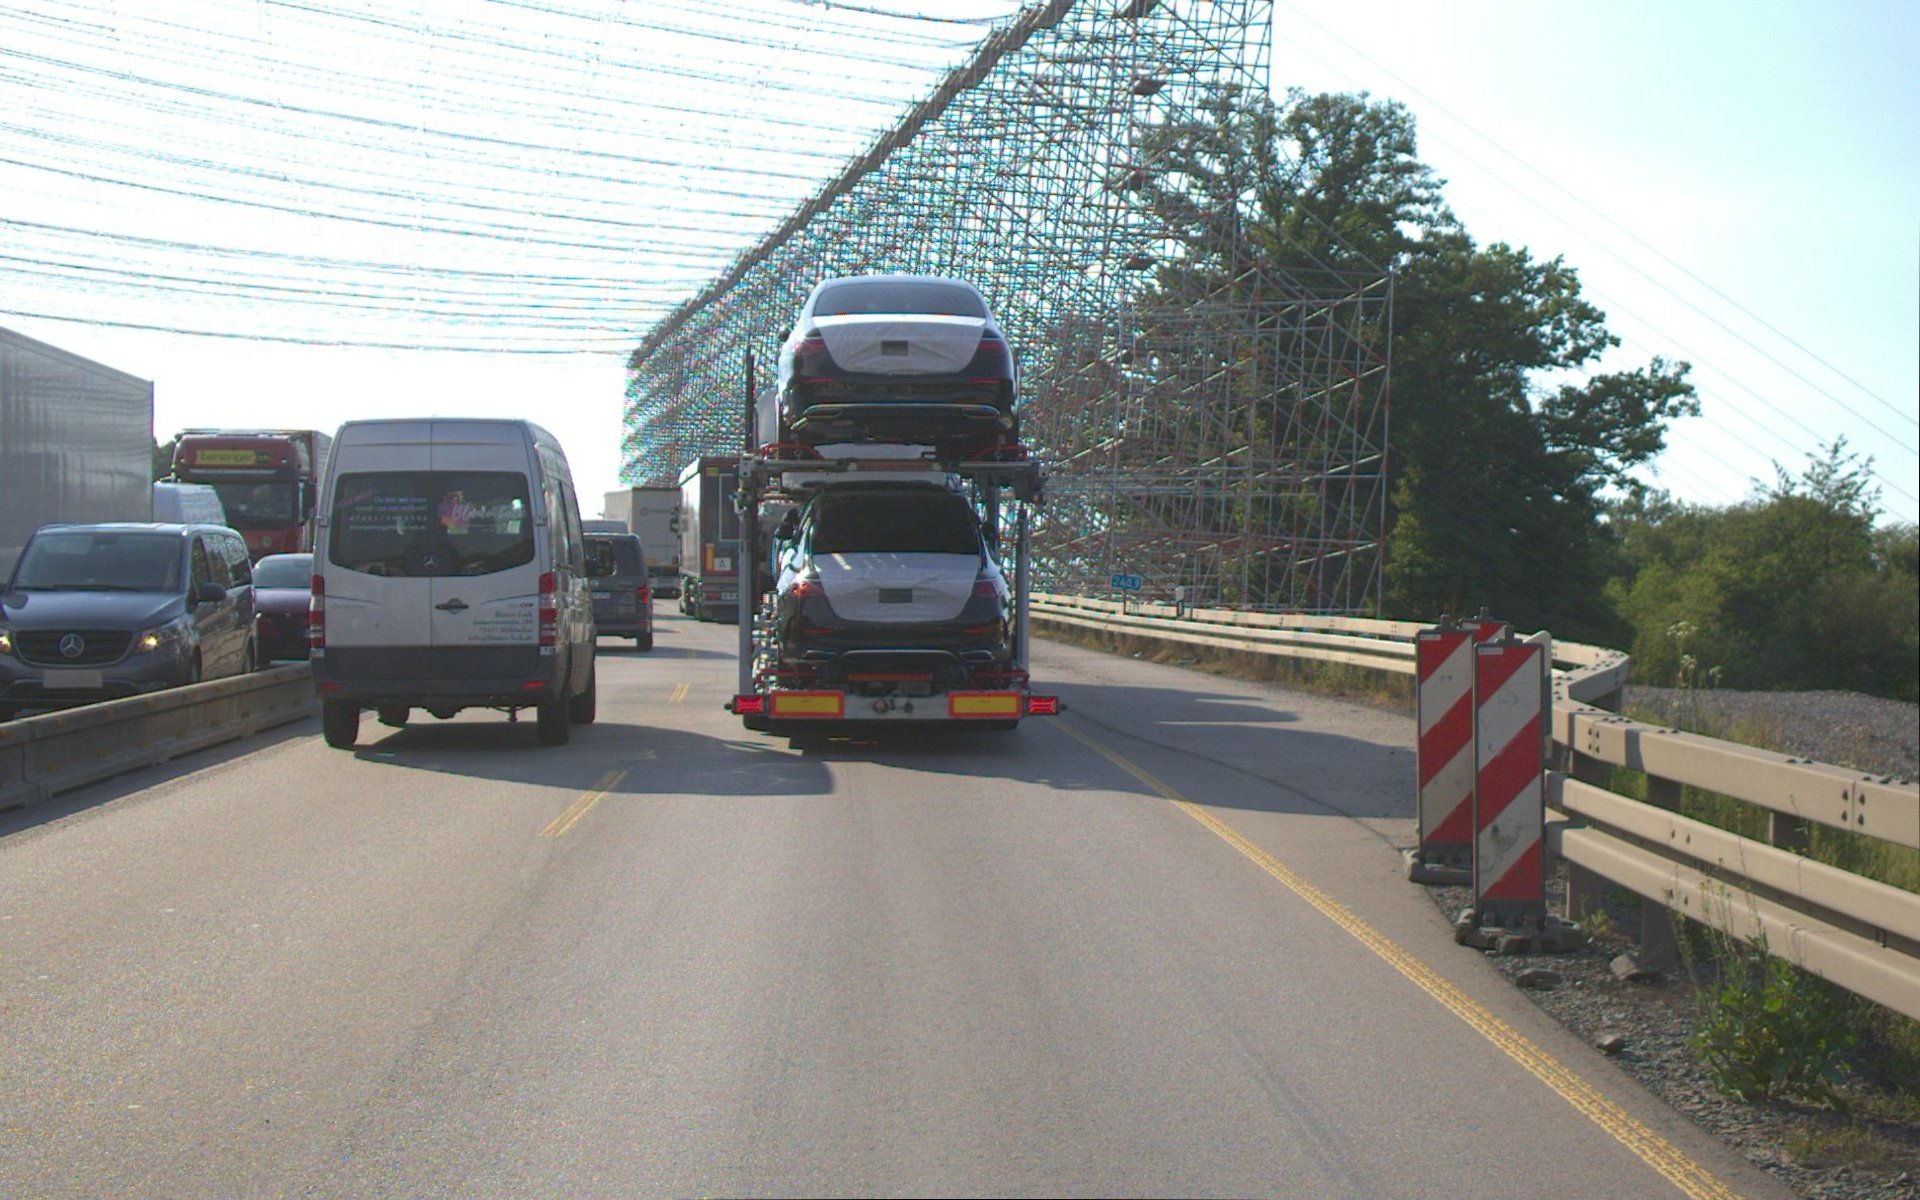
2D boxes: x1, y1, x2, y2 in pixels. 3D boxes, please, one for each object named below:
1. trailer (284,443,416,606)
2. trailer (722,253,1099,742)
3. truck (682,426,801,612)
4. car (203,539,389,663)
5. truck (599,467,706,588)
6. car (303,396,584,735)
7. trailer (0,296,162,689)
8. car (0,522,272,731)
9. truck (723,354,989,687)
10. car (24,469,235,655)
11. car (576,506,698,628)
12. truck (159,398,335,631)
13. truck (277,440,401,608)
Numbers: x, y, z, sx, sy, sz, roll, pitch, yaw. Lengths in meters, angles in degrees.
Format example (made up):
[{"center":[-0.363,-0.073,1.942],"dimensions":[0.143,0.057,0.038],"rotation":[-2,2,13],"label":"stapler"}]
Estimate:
[{"center":[-16.619,-1.991,94.386],"dimensions":[2.798,4.127,13.969],"rotation":[0,1,-7],"label":"trailer"},{"center":[-0.843,-0.854,33.749],"dimensions":[2.868,3.712,14.949],"rotation":[0,1,-4],"label":"trailer"},{"center":[-5.505,-2.043,88.012],"dimensions":[2.732,4.370,11.523],"rotation":[1,1,-3],"label":"truck"},{"center":[-9.180,-0.027,47.843],"dimensions":[1.887,1.563,4.456],"rotation":[1,1,-3],"label":"car"},{"center":[-11.689,-2.777,130.788],"dimensions":[3.686,4.206,13.671],"rotation":[-2,1,-5],"label":"truck"},{"center":[-4.213,-0.278,28.585],"dimensions":[1.956,2.612,4.000],"rotation":[0,0,-4],"label":"car"},{"center":[-11.945,-1.196,40.862],"dimensions":[2.720,4.203,13.751],"rotation":[0,1,-4],"label":"trailer"},{"center":[-7.919,0.175,33.133],"dimensions":[1.804,1.766,5.454],"rotation":[1,2,-4],"label":"car"},{"center":[-1.408,-0.920,41.954],"dimensions":[2.881,3.690,7.326],"rotation":[0,1,-4],"label":"truck"},{"center":[-12.919,-0.657,53.923],"dimensions":[2.021,2.680,6.950],"rotation":[1,2,-4],"label":"car"},{"center":[-5.543,-0.560,59.238],"dimensions":[1.993,2.007,4.001],"rotation":[1,0,-5],"label":"car"},{"center":[-13.719,-1.603,66.504],"dimensions":[2.744,4.285,5.935],"rotation":[0,1,-6],"label":"truck"},{"center":[-15.851,-1.913,88.049],"dimensions":[2.786,4.127,5.935],"rotation":[0,1,-7],"label":"truck"}]
